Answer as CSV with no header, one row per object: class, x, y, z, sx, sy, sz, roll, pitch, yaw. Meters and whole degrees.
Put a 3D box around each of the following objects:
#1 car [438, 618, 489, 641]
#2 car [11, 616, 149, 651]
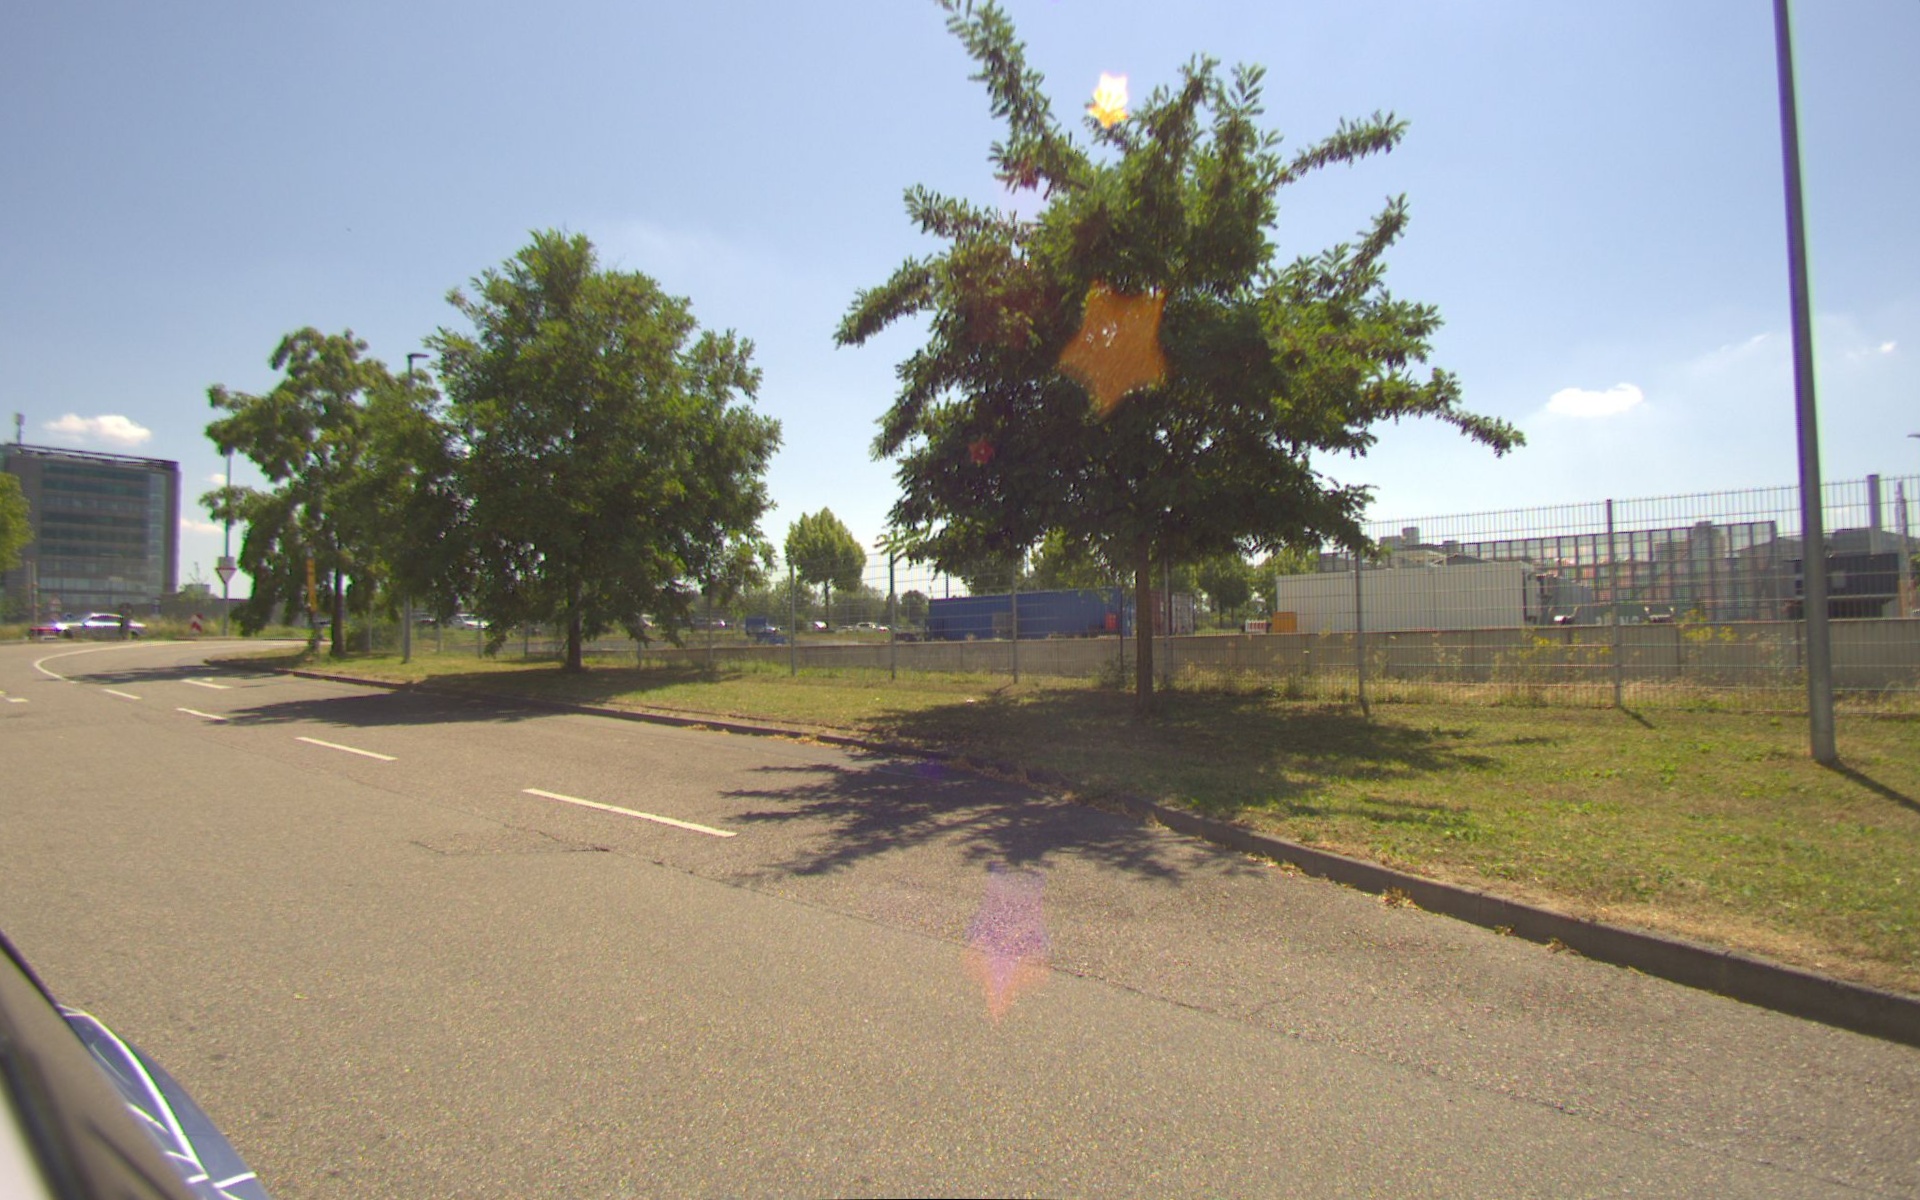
car,-32.290,1.904,65.769,3.876,1.307,1.553,-4,-2,41
car,-40.049,1.544,46.176,1.665,1.385,4.456,-6,-5,26
